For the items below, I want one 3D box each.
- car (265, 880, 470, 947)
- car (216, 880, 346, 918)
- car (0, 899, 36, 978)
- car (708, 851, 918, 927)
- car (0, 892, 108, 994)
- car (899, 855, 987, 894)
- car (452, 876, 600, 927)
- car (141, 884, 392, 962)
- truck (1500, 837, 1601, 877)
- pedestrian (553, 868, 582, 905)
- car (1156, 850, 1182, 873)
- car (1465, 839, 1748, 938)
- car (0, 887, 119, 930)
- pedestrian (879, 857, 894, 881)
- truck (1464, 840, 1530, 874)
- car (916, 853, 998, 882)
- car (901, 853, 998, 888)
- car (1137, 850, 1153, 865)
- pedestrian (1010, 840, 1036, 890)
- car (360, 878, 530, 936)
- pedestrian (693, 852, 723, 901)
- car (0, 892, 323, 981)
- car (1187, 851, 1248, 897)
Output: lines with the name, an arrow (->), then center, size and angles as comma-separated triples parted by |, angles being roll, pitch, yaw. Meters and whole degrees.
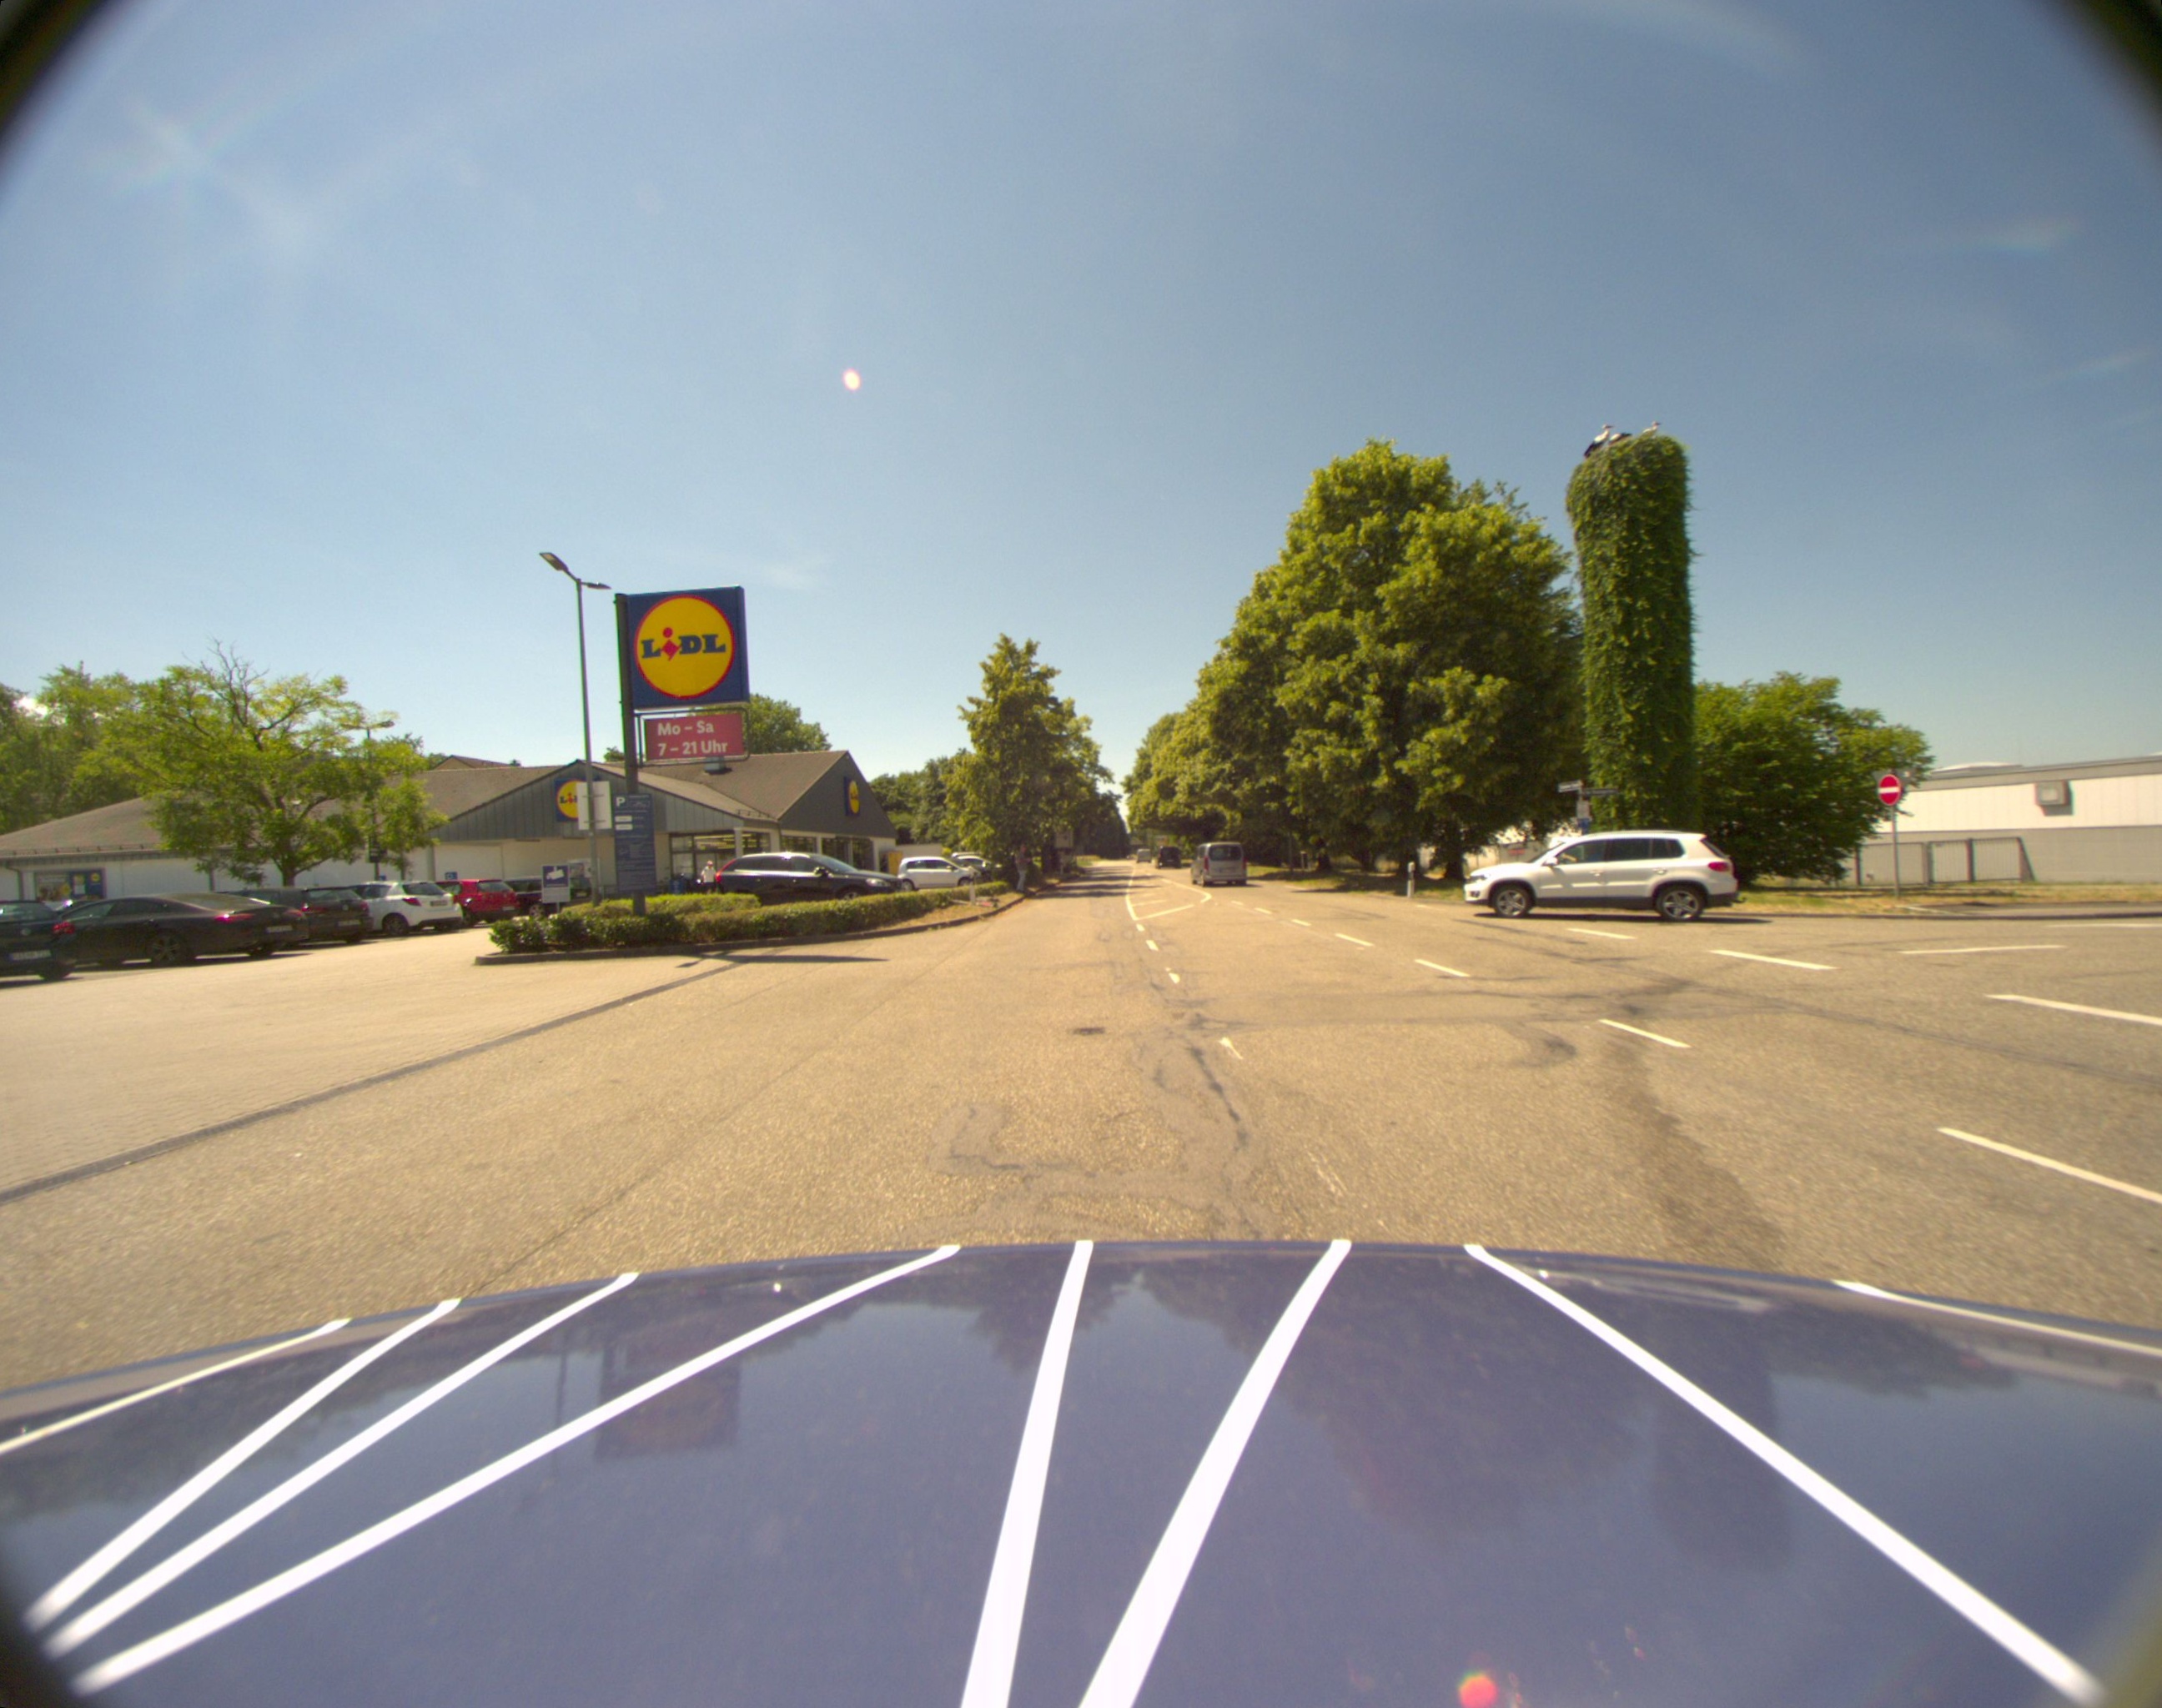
car -> -19.095, 1.557, 20.460 | 3.731, 1.495, 1.819 | -3, 0, 1
car -> -37.802, 2.089, 36.073 | 1.999, 1.543, 3.999 | -2, 0, -3
car -> -25.586, 1.876, 15.462 | 5.529, 1.632, 1.999 | -2, 0, -3
car -> -6.640, 0.849, 19.143 | 4.524, 1.658, 1.895 | -2, 0, 4
car -> -19.402, 1.584, 12.602 | 4.031, 1.554, 1.808 | -3, 1, -1
car -> -5.738, 0.858, 31.846 | 3.406, 1.497, 1.582 | -2, 0, -2
car -> -18.351, 1.543, 25.229 | 3.605, 1.408, 1.671 | -3, 0, 1
car -> -19.024, 1.584, 17.875 | 4.027, 1.468, 1.728 | -3, 1, 2
truck -> 37.041, 0.226, 60.527 | 2.690, 2.780, 10.164 | -3, 0, 7
pedestrian -> -22.382, 1.422, 33.102 | 0.803, 1.543, 0.558 | -2, 1, -1
car -> 7.010, 0.576, 60.791 | 1.827, 1.771, 4.783 | 0, 0, 3
car -> 9.987, 0.628, 14.789 | 4.237, 1.662, 1.979 | -2, 0, 33
car -> -48.344, 2.508, 35.385 | 1.999, 1.674, 3.999 | -2, 0, -3
pedestrian -> -14.407, 1.098, 56.290 | 0.762, 1.731, 0.698 | -2, 1, 4
truck -> 38.290, 0.246, 70.254 | 2.438, 2.911, 8.167 | -3, 0, 7
car -> -6.837, 0.750, 42.172 | 4.241, 1.403, 1.953 | -2, 0, -2
car -> -6.269, 0.765, 36.638 | 4.322, 1.472, 1.809 | -2, 0, -2
car -> 8.672, 0.467, 102.847 | 1.882, 1.823, 5.299 | -2, 0, 2
pedestrian -> -2.112, 0.400, 27.690 | 0.730, 1.779, 0.621 | -2, 1, 10
car -> -19.075, 1.568, 22.910 | 3.605, 1.449, 1.746 | -3, 0, 1
pedestrian -> -15.533, 0.913, 31.674 | 0.784, 2.002, 0.803 | -2, 1, -1
car -> -18.321, 1.597, 15.204 | 4.254, 1.383, 1.901 | -2, 1, -2
car -> 5.704, 0.775, 32.215 | 1.800, 1.762, 4.363 | 1, 1, 0
